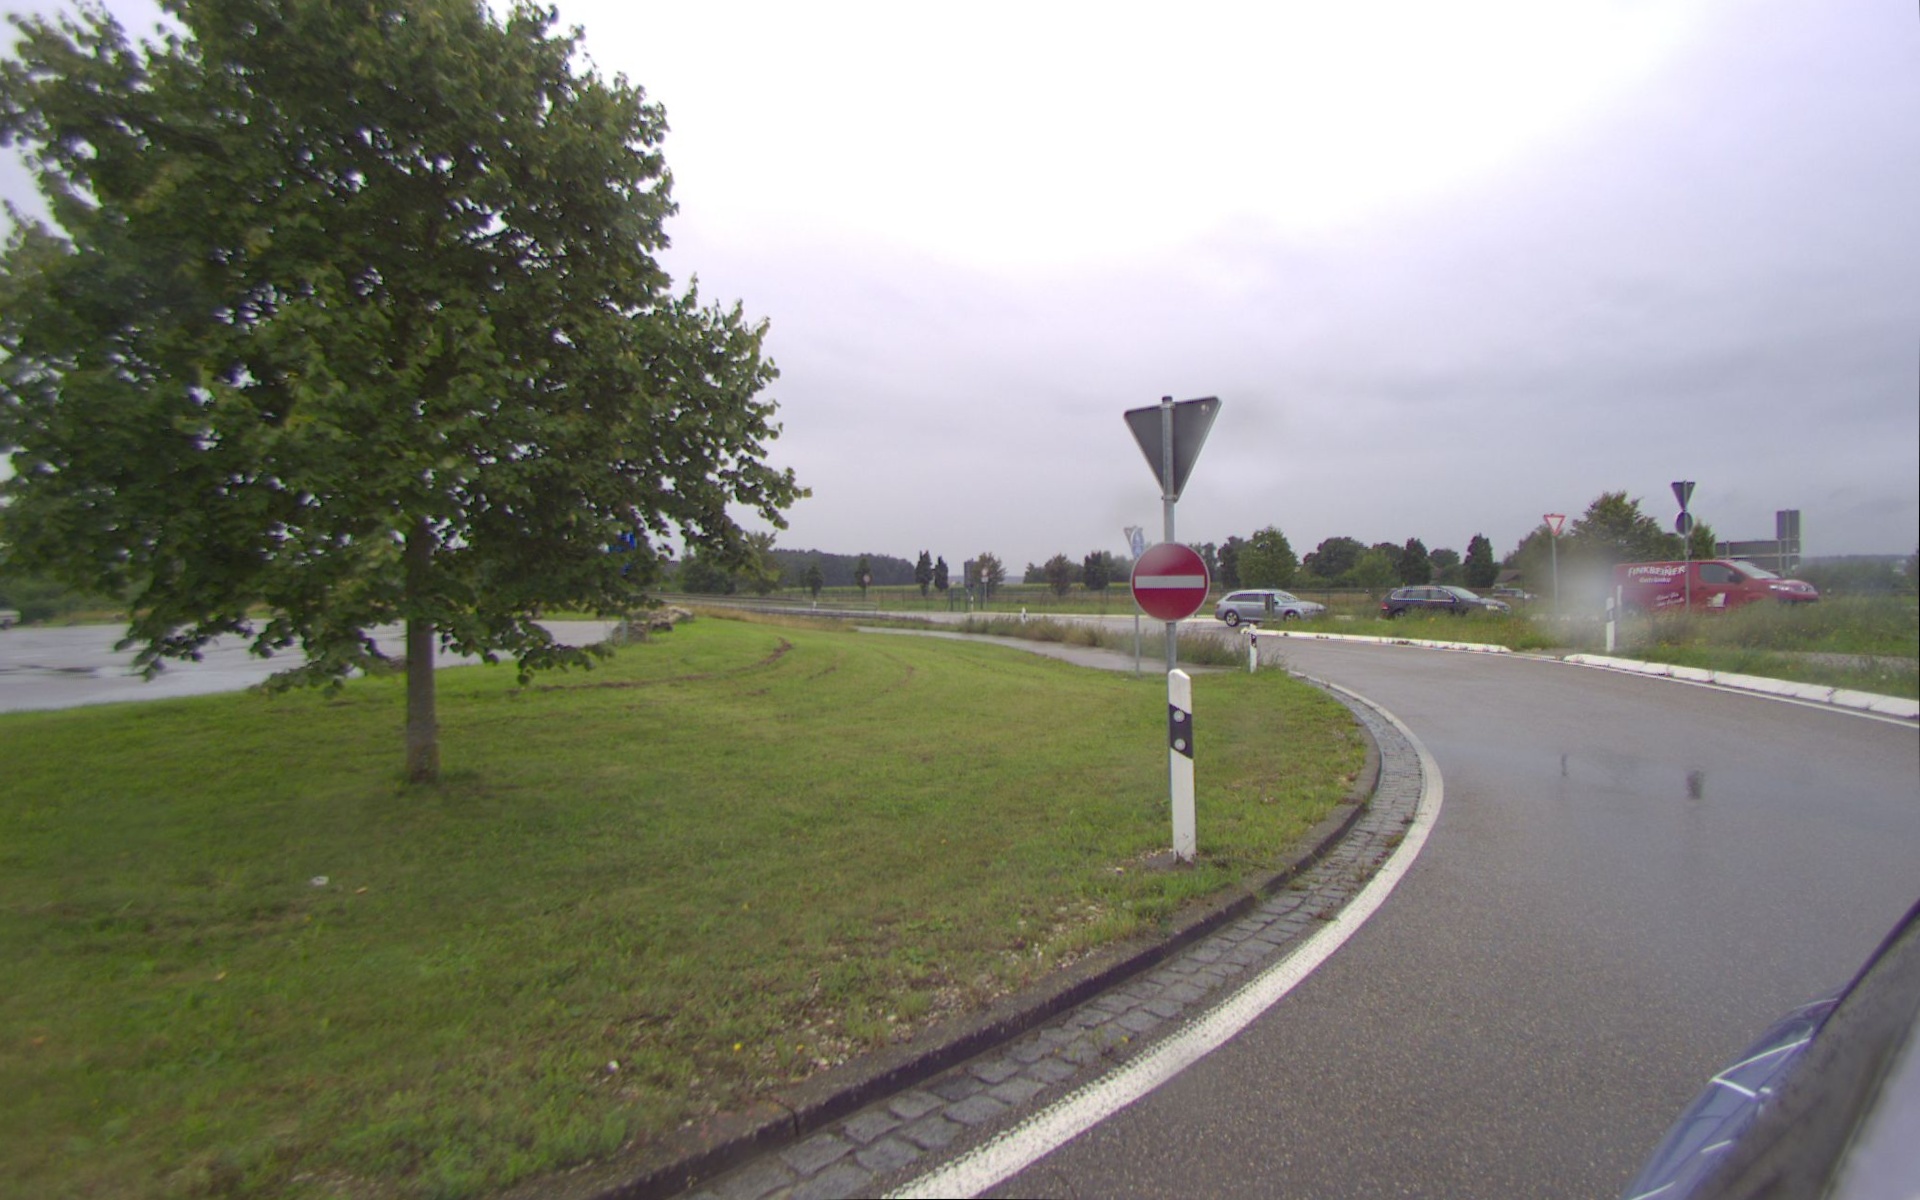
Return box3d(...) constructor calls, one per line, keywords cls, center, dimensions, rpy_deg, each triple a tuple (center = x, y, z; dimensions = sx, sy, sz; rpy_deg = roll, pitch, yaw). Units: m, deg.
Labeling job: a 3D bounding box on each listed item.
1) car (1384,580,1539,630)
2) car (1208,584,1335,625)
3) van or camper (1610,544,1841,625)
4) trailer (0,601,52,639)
box3d(cls="car", center=(17.610, 0.172, 35.739), dimensions=(1.964, 1.623, 4.520), rpy_deg=(0, 0, -38))
box3d(cls="car", center=(12.736, 0.151, 41.622), dimensions=(1.966, 1.500, 4.655), rpy_deg=(-3, 2, -40))
box3d(cls="van or camper", center=(21.713, -0.421, 28.940), dimensions=(1.960, 2.038, 4.853), rpy_deg=(-4, 2, -28))
box3d(cls="trailer", center=(-40.658, 0.852, 42.792), dimensions=(1.665, 1.552, 4.008), rpy_deg=(-2, 1, -14))
